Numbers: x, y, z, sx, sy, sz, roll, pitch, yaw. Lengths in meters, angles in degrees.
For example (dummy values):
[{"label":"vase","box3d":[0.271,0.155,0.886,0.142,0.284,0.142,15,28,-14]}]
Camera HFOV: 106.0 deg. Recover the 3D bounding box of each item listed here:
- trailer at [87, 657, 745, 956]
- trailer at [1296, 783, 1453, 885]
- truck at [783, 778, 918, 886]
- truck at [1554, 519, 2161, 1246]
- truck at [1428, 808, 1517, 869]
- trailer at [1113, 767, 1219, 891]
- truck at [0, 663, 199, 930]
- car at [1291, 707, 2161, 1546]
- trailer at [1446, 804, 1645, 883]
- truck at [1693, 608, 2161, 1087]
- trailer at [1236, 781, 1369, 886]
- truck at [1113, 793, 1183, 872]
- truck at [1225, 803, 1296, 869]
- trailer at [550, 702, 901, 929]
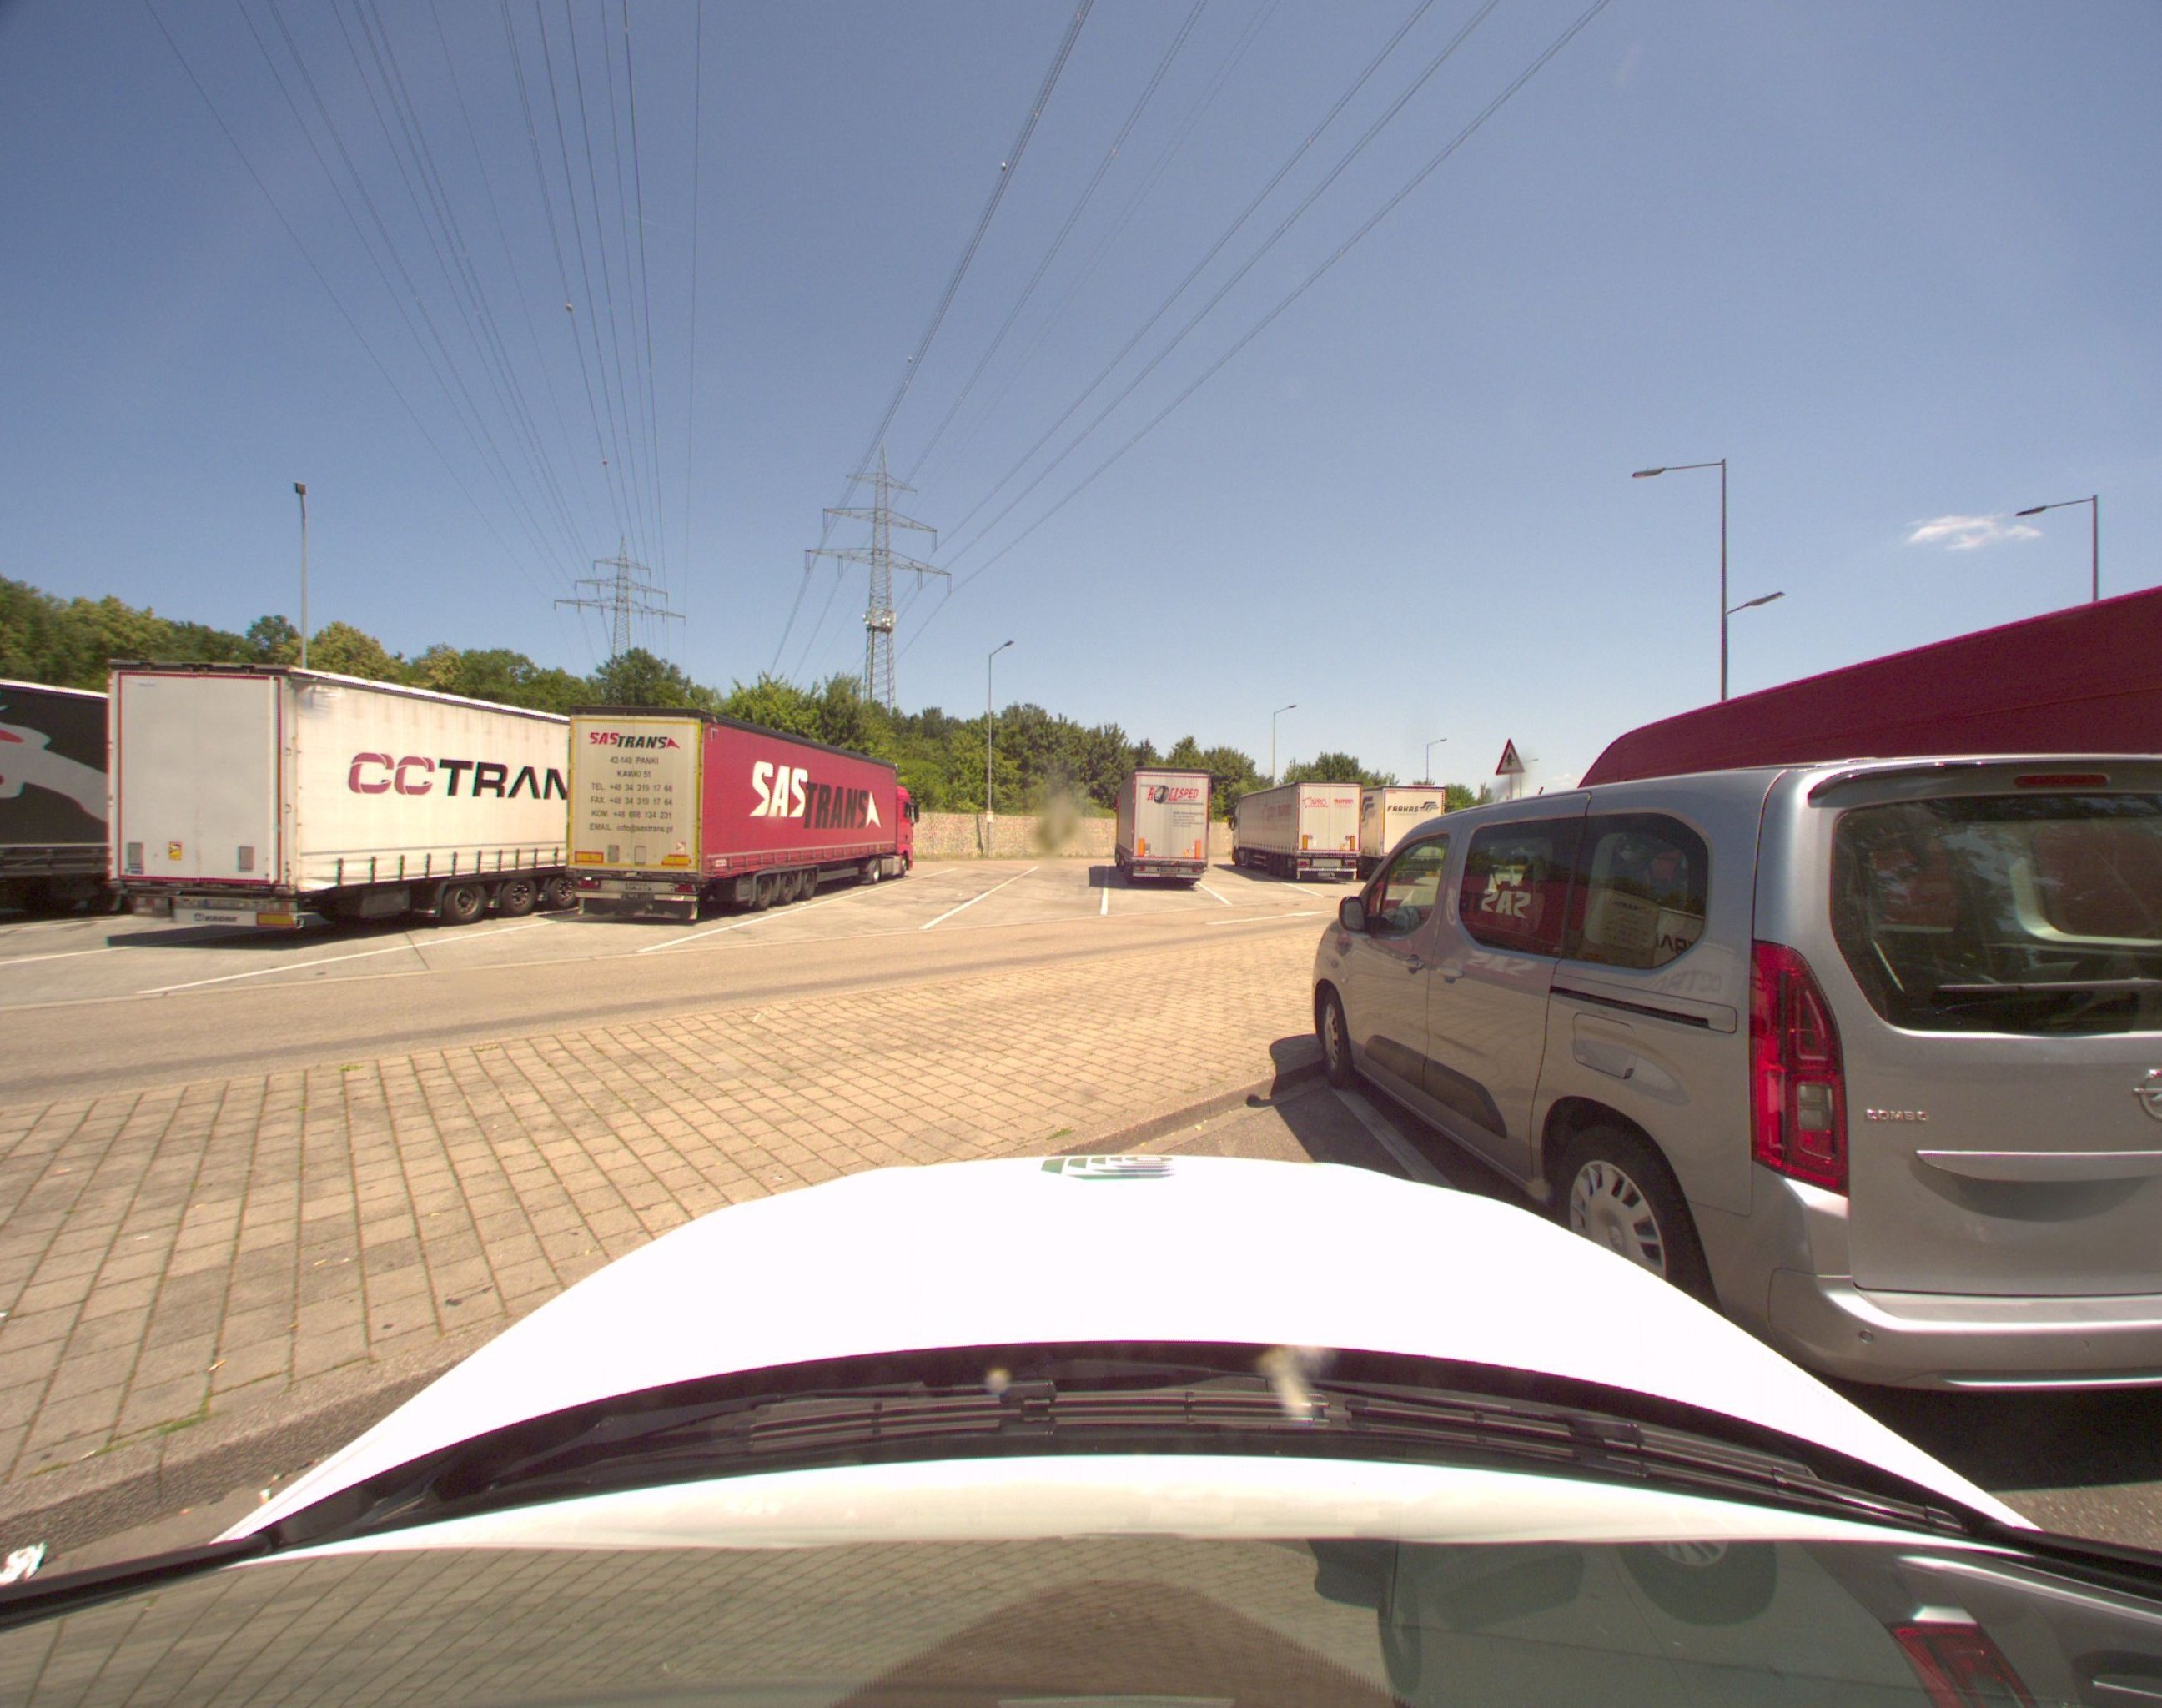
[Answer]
[{"label":"trailer","box3d":[-12.138,-0.911,18.354,2.785,4.084,14.139,1,2,2]},{"label":"trailer","box3d":[13.590,-1.043,39.628,2.801,3.989,14.403,1,2,2]},{"label":"truck","box3d":[-7.827,-0.787,28.494,2.840,3.327,5.903,1,2,2]},{"label":"truck","box3d":[5.127,0.121,4.927,1.968,2.622,5.314,0,-1,7]},{"label":"truck","box3d":[24.342,-1.017,51.007,2.792,3.521,5.903,1,2,2]},{"label":"trailer","box3d":[3.052,-1.069,33.716,3.122,3.989,14.401,1,2,1]},{"label":"truck","box3d":[-18.550,-0.967,13.802,2.726,4.239,3.997,1,2,2]},{"label":"car","box3d":[2.481,0.577,3.904,1.864,1.863,4.176,1,1,0]},{"label":"trailer","box3d":[24.086,-0.744,43.776,2.801,3.507,14.403,1,2,2]},{"label":"truck","box3d":[7.982,-0.035,6.476,2.444,2.912,5.663,-1,-1,7]},{"label":"trailer","box3d":[9.917,-1.052,38.665,2.801,3.989,14.403,1,2,2]},{"label":"truck","box3d":[3.217,-1.087,40.610,3.092,3.566,5.903,1,2,2]},{"label":"truck","box3d":[10.178,-1.084,46.766,2.852,3.521,5.903,1,2,2]},{"label":"trailer","box3d":[-8.074,-0.948,21.924,2.781,4.084,14.139,1,2,2]}]
